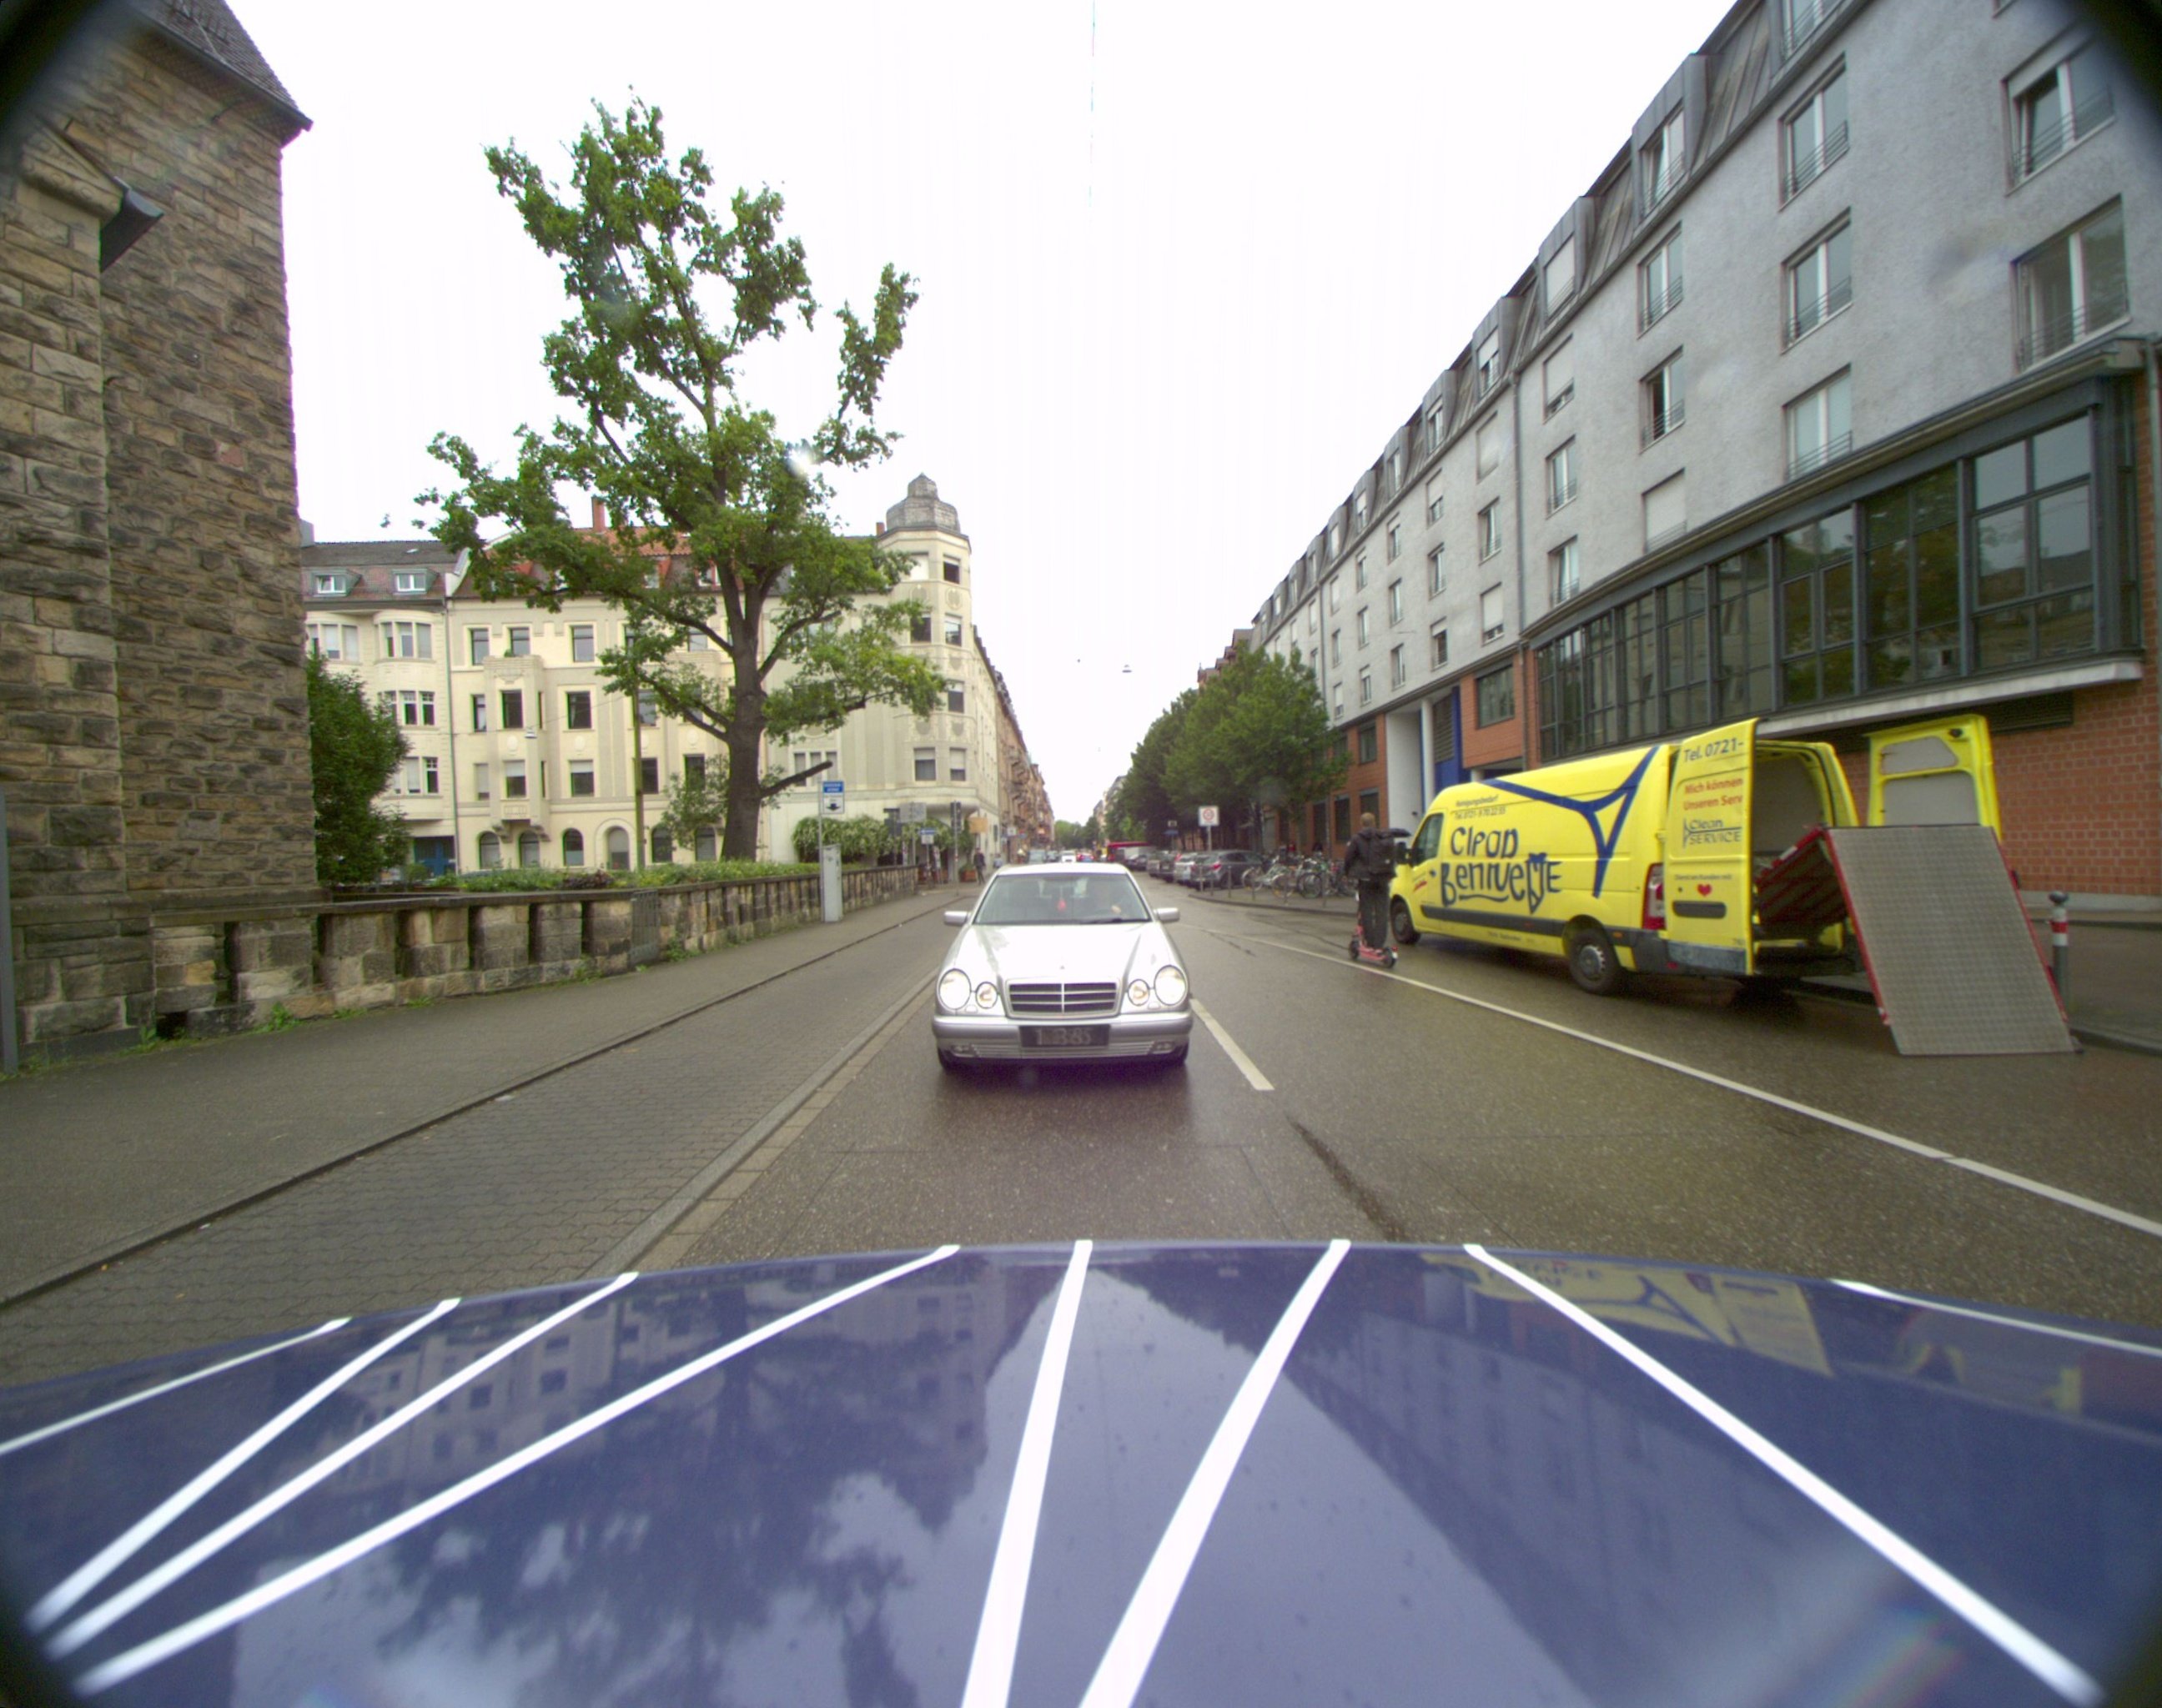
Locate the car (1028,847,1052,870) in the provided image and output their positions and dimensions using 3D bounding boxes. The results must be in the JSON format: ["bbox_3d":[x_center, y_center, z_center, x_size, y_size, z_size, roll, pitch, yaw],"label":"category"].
[{"bbox_3d":[-3.313,0.365,61.505,1.726,1.794,3.462,-1,0,0],"label":"car"}]

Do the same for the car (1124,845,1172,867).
[{"bbox_3d":[5.974,0.175,67.156,4.338,1.884,1.685,-1,1,-41],"label":"car"}]

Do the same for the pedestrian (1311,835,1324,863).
[{"bbox_3d":[13.028,-0.256,41.784,0.516,1.521,0.548,-1,1,-3],"label":"pedestrian"}]

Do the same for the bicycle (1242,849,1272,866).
[{"bbox_3d":[10.203,0.201,44.080,1.590,0.979,0.465,-2,1,-8],"label":"bicycle"}]

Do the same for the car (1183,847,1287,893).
[{"bbox_3d":[5.913,0.569,29.056,3.629,1.494,1.736,-3,2,-31],"label":"car"}]

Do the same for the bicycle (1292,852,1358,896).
[{"bbox_3d":[7.252,0.586,22.547,1.815,1.187,0.519,-3,1,-13],"label":"bicycle"}]

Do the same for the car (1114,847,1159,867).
[{"bbox_3d":[5.185,0.277,70.668,4.338,1.822,1.571,-1,1,-41],"label":"car"}]

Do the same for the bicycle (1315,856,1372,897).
[{"bbox_3d":[7.468,0.639,21.688,1.461,1.096,0.462,-3,1,14],"label":"bicycle"}]

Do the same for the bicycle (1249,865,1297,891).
[{"bbox_3d":[6.560,0.813,26.010,1.473,0.800,0.497,-3,1,3],"label":"bicycle"}]

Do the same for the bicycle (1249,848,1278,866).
[{"bbox_3d":[10.788,0.174,44.975,1.590,0.979,0.465,-2,1,-8],"label":"bicycle"}]

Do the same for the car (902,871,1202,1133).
[{"bbox_3d":[-0.172,0.940,6.581,1.764,1.420,3.999,-2,0,0],"label":"car"}]

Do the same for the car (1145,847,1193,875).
[{"bbox_3d":[5.327,0.428,45.973,2.685,1.546,1.148,-3,1,-29],"label":"car"}]

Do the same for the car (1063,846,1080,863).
[{"bbox_3d":[-1.197,0.072,96.861,1.998,2.002,4.000,-1,1,1],"label":"car"}]

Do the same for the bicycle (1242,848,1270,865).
[{"bbox_3d":[10.639,0.154,46.109,1.590,0.979,0.465,-2,1,-8],"label":"bicycle"}]

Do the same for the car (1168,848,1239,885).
[{"bbox_3d":[5.598,0.565,34.591,3.084,1.494,1.449,-3,1,-40],"label":"car"}]

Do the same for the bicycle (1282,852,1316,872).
[{"bbox_3d":[11.096,0.392,38.650,1.590,0.979,0.445,-2,1,-8],"label":"bicycle"}]

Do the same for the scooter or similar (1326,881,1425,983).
[{"bbox_3d":[3.792,0.968,9.880,0.702,1.158,1.385,-1,1,-2],"label":"scooter or similar"}]

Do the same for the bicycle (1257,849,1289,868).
[{"bbox_3d":[10.557,0.232,41.805,1.590,0.979,0.465,-2,1,-8],"label":"bicycle"}]

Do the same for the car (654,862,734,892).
[{"bbox_3d":[-19.261,1.151,37.884,3.270,1.401,1.448,-1,1,3],"label":"car"}]

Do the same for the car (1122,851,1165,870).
[{"bbox_3d":[5.187,0.496,62.925,1.685,1.482,3.799,0,1,40],"label":"car"}]

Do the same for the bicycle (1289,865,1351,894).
[{"bbox_3d":[7.272,0.777,23.139,1.773,0.757,0.456,-3,1,-13],"label":"bicycle"}]

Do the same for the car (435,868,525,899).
[{"bbox_3d":[-29.397,1.443,37.214,3.270,1.401,1.448,-1,1,3],"label":"car"}]

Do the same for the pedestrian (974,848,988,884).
[{"bbox_3d":[-5.195,0.610,39.506,0.646,1.862,0.693,-1,1,0],"label":"pedestrian"}]

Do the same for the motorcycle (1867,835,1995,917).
[{"bbox_3d":[13.245,0.306,11.910,0.524,1.174,1.760,-3,1,19],"label":"motorcycle"}]

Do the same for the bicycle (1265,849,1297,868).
[{"bbox_3d":[10.674,0.249,40.640,1.590,0.979,0.445,-2,1,-8],"label":"bicycle"}]

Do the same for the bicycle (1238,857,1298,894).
[{"bbox_3d":[6.125,0.703,24.918,1.812,1.099,0.472,-3,1,-5],"label":"bicycle"}]

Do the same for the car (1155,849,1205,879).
[{"bbox_3d":[5.308,0.517,40.708,2.506,1.442,1.191,-3,1,-40],"label":"car"}]

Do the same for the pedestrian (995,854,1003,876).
[{"bbox_3d":[-5.253,0.702,48.672,0.482,1.452,0.392,-1,1,-1],"label":"pedestrian"}]

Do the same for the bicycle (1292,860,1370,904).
[{"bbox_3d":[6.710,0.744,20.446,1.858,1.067,0.609,-3,1,5],"label":"bicycle"}]

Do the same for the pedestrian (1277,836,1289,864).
[{"bbox_3d":[11.825,-0.253,44.515,0.605,1.601,0.372,-2,1,-1],"label":"pedestrian"}]

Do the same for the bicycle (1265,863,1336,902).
[{"bbox_3d":[6.127,0.785,21.248,1.800,0.987,0.520,-3,1,-2],"label":"bicycle"}]

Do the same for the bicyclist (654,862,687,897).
[{"bbox_3d":[-18.386,1.158,34.042,1.133,1.521,0.537,-2,1,3],"label":"bicyclist"}]

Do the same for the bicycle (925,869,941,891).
[{"bbox_3d":[-7.316,1.271,37.669,0.390,0.888,2.023,-1,3,0],"label":"bicycle"}]

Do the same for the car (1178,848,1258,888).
[{"bbox_3d":[5.789,0.571,31.983,3.083,1.494,1.449,-3,1,-31],"label":"car"}]

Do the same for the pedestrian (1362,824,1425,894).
[{"bbox_3d":[9.157,0.140,22.320,1.228,1.870,1.055,-6,1,0],"label":"pedestrian"}]

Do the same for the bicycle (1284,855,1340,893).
[{"bbox_3d":[7.219,0.617,23.759,1.611,1.099,0.519,-3,1,-13],"label":"bicycle"}]

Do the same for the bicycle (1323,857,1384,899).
[{"bbox_3d":[7.494,0.663,20.915,1.462,1.058,0.418,-3,1,4],"label":"bicycle"}]

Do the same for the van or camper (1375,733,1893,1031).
[{"bbox_3d":[6.041,0.233,9.673,2.201,2.596,5.941,-1,0,-1],"label":"van or camper"}]

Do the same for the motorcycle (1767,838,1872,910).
[{"bbox_3d":[13.065,0.310,13.512,0.524,1.174,2.006,-3,1,19],"label":"motorcycle"}]

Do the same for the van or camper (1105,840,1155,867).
[{"bbox_3d":[4.960,-0.066,76.589,4.604,2.597,1.999,-1,1,-27],"label":"van or camper"}]

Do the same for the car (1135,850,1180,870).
[{"bbox_3d":[6.125,0.465,60.410,1.685,1.482,3.799,0,1,40],"label":"car"}]

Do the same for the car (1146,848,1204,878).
[{"bbox_3d":[5.357,0.496,43.216,2.985,1.546,1.369,-3,1,-29],"label":"car"}]

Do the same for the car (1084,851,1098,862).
[{"bbox_3d":[1.300,0.326,98.205,1.651,1.301,3.311,-1,0,-3],"label":"car"}]

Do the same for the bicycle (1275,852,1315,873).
[{"bbox_3d":[10.600,0.417,37.633,1.851,0.979,0.445,-2,1,-8],"label":"bicycle"}]

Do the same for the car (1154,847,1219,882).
[{"bbox_3d":[5.237,0.522,37.476,3.084,1.543,1.449,-3,1,-40],"label":"car"}]

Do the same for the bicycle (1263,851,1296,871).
[{"bbox_3d":[10.464,0.376,40.021,1.590,0.979,0.445,-2,1,-8],"label":"bicycle"}]

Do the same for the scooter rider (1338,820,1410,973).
[{"bbox_3d":[3.786,0.532,9.848,0.712,1.924,0.503,-1,1,-2],"label":"scooter rider"}]

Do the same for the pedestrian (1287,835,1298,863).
[{"bbox_3d":[12.262,-0.288,44.059,0.514,1.601,0.425,-2,1,1],"label":"pedestrian"}]

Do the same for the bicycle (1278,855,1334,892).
[{"bbox_3d":[7.237,0.622,24.442,1.610,1.099,0.520,-3,1,-5],"label":"bicycle"}]

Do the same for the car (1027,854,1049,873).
[{"bbox_3d":[-3.142,0.680,56.436,1.447,1.348,3.204,-1,0,0],"label":"car"}]

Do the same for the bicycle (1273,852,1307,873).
[{"bbox_3d":[10.472,0.411,38.106,1.590,0.979,0.445,-2,1,-8],"label":"bicycle"}]

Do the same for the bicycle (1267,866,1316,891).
[{"bbox_3d":[7.037,0.808,25.383,1.473,0.717,0.497,-3,1,3],"label":"bicycle"}]

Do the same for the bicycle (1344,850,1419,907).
[{"bbox_3d":[7.553,0.582,19.040,1.922,1.209,0.768,-6,3,-35],"label":"bicycle"}]
